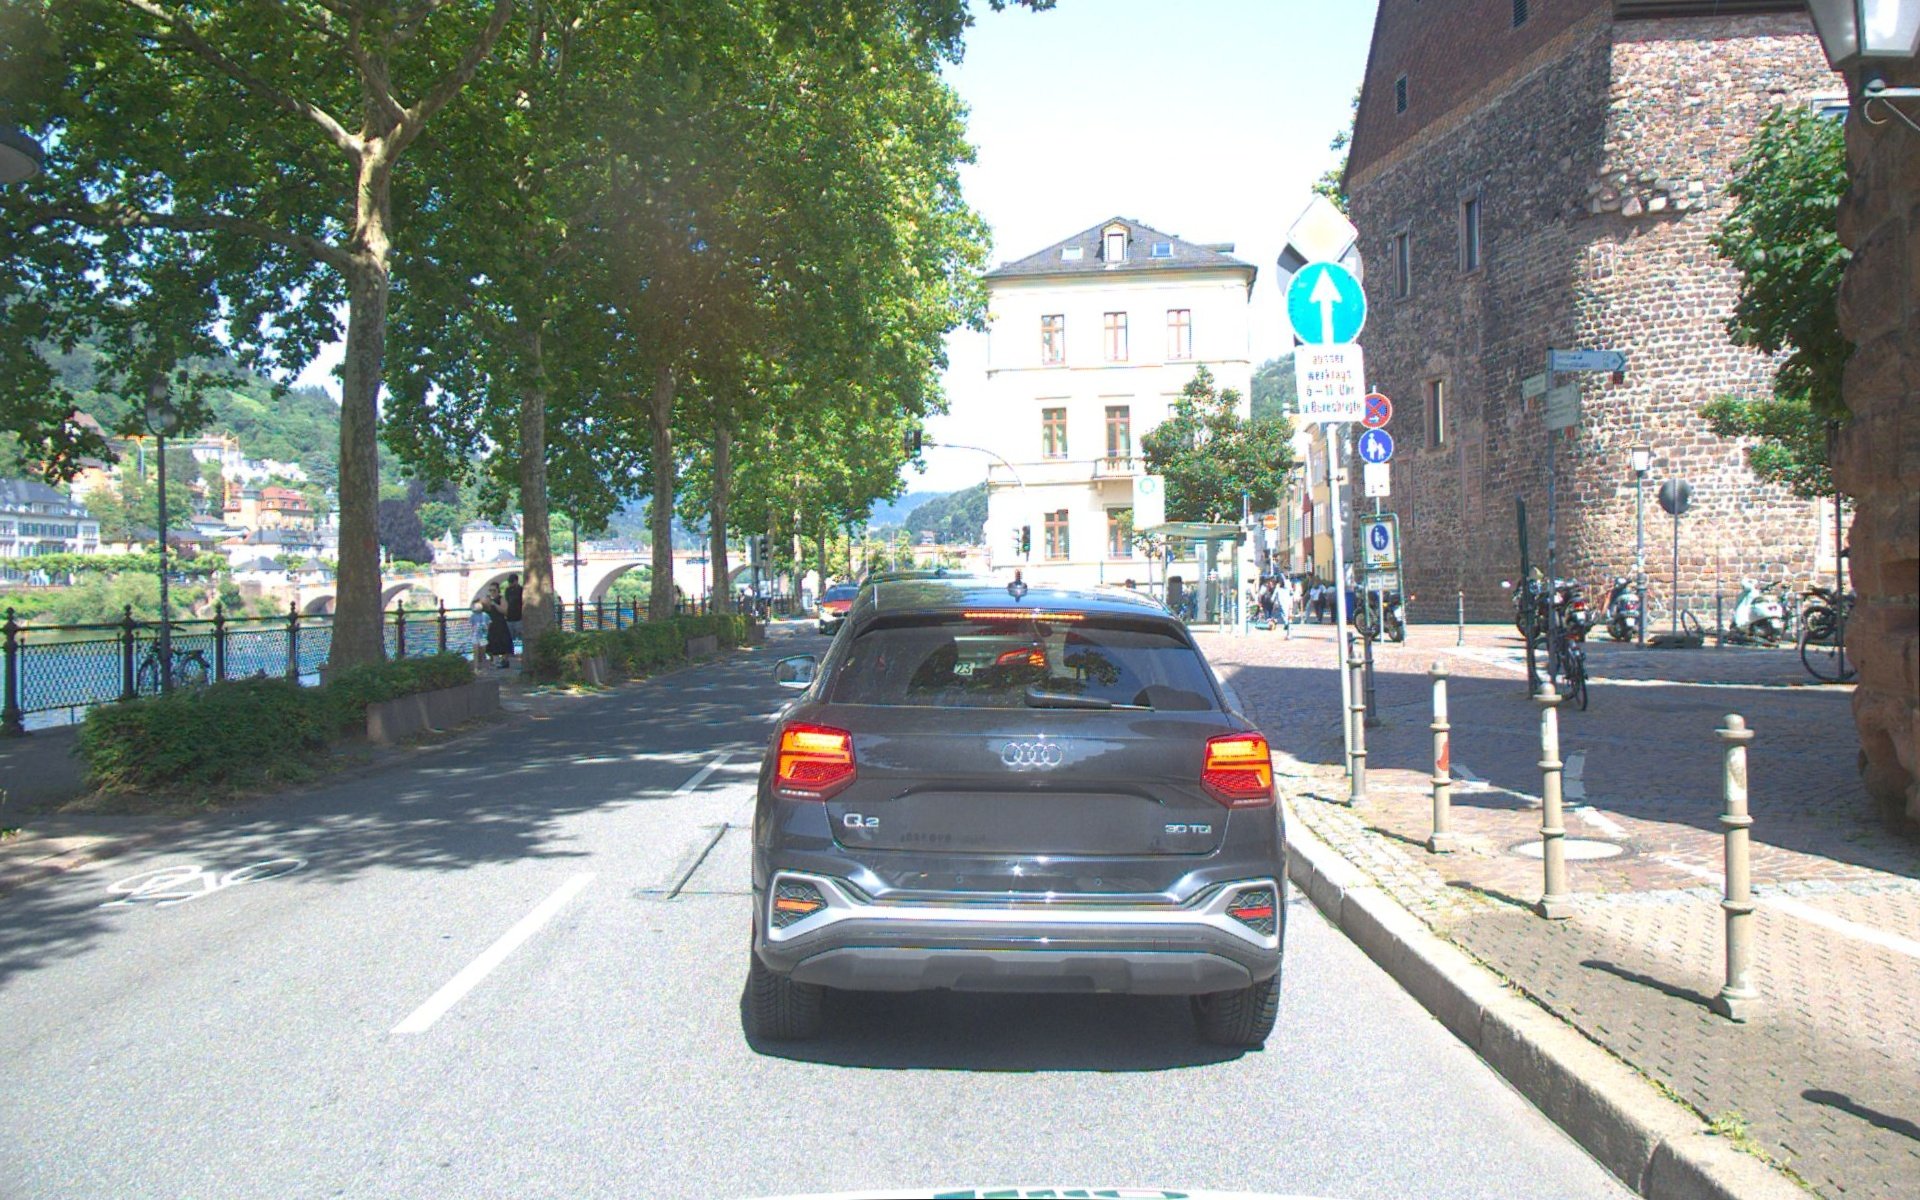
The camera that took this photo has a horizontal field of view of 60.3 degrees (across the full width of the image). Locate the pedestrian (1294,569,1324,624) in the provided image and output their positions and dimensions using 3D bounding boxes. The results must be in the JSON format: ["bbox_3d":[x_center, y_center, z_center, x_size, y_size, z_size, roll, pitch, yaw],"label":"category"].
[{"bbox_3d":[12.605,-0.128,59.741,0.740,1.923,0.744,-2,0,-26],"label":"pedestrian"}]

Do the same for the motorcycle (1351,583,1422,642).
[{"bbox_3d":[7.770,0.213,30.237,0.555,1.030,2.489,-1,1,-2],"label":"motorcycle"}]

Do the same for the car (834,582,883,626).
[{"bbox_3d":[-4.246,0.141,69.659,1.733,1.688,3.999,-4,0,-1],"label":"car"}]

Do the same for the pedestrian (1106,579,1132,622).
[{"bbox_3d":[4.708,0.007,48.959,0.651,1.253,0.640,1,-1,-7],"label":"pedestrian"}]

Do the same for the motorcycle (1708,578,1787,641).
[{"bbox_3d":[14.027,0.170,29.511,0.496,1.092,1.840,1,0,-1],"label":"motorcycle"}]

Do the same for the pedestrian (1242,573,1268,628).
[{"bbox_3d":[7.621,0.013,42.748,0.546,1.409,0.588,1,-1,1],"label":"pedestrian"}]

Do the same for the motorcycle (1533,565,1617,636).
[{"bbox_3d":[11.362,0.014,30.649,0.661,1.257,2.312,1,0,-1],"label":"motorcycle"}]

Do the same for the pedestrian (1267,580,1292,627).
[{"bbox_3d":[14.319,0.157,74.218,0.925,2.049,0.807,1,-1,-1],"label":"pedestrian"}]

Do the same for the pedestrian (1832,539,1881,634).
[{"bbox_3d":[19.539,-0.292,36.073,0.857,2.049,0.732,1,-1,23],"label":"pedestrian"}]

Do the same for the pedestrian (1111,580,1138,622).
[{"bbox_3d":[4.777,0.030,48.180,0.651,1.233,0.640,1,-1,-7],"label":"pedestrian"}]

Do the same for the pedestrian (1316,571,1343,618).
[{"bbox_3d":[13.147,-0.203,58.840,0.677,1.640,0.891,-2,0,-1],"label":"pedestrian"}]

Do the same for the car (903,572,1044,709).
[{"bbox_3d":[0.138,0.468,21.553,1.676,1.637,3.654,0,0,-1],"label":"car"}]

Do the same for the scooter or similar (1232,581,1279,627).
[{"bbox_3d":[7.062,0.103,39.519,1.067,1.084,0.323,1,-1,-3],"label":"scooter or similar"}]

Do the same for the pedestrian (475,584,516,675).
[{"bbox_3d":[-8.901,0.549,31.705,0.589,1.715,0.583,-1,0,-2],"label":"pedestrian"}]

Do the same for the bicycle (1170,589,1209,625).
[{"bbox_3d":[6.819,0.217,49.080,1.184,1.053,0.178,1,-1,-20],"label":"bicycle"}]

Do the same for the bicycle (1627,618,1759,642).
[{"bbox_3d":[12.251,0.502,27.711,1.887,0.388,0.918,0,-1,14],"label":"bicycle"}]

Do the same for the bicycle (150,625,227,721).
[{"bbox_3d":[-9.529,0.883,20.460,0.352,1.110,1.295,2,0,-2],"label":"bicycle"}]

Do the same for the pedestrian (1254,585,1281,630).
[{"bbox_3d":[10.185,0.242,54.787,0.626,1.469,0.797,-2,0,-7],"label":"pedestrian"}]

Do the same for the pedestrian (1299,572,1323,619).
[{"bbox_3d":[12.531,-0.169,59.071,0.595,1.647,0.710,-3,0,-1],"label":"pedestrian"}]

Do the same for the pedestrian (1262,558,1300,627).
[{"bbox_3d":[8.006,-0.186,41.206,0.790,1.691,0.656,-1,0,21],"label":"pedestrian"}]

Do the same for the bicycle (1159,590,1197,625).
[{"bbox_3d":[6.564,0.216,49.703,1.166,1.033,0.178,1,-1,-20],"label":"bicycle"}]

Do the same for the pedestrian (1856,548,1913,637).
[{"bbox_3d":[19.222,-0.157,34.382,0.645,1.834,0.838,0,0,-30],"label":"pedestrian"}]

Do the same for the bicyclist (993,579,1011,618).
[{"bbox_3d":[1.586,-0.049,62.509,0.593,1.475,0.590,1,-1,-6],"label":"bicyclist"}]

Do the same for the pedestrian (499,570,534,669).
[{"bbox_3d":[-8.647,0.376,32.264,0.523,1.920,0.436,1,0,-1],"label":"pedestrian"}]

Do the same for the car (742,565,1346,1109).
[{"bbox_3d":[0.218,0.661,6.568,1.707,1.535,3.646,1,1,-1],"label":"car"}]

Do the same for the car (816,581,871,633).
[{"bbox_3d":[-4.109,0.209,58.945,1.639,1.689,4.222,-3,0,-1],"label":"car"}]

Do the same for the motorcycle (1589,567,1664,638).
[{"bbox_3d":[12.362,0.052,30.742,0.535,1.257,2.030,1,0,-1],"label":"motorcycle"}]

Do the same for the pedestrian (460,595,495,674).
[{"bbox_3d":[-8.550,0.613,29.308,0.469,1.386,0.417,-1,0,3],"label":"pedestrian"}]

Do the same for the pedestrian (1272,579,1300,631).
[{"bbox_3d":[12.946,0.186,65.679,0.921,2.049,0.807,1,-1,-3],"label":"pedestrian"}]

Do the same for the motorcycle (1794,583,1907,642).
[{"bbox_3d":[16.833,0.230,31.290,1.826,1.072,0.480,1,-1,7],"label":"motorcycle"}]

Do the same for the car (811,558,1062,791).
[{"bbox_3d":[-0.189,0.519,13.441,1.756,1.623,3.398,1,0,-1],"label":"car"}]

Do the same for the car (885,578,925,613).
[{"bbox_3d":[-2.981,-0.210,90.442,1.952,1.838,4.000,1,0,1],"label":"car"}]

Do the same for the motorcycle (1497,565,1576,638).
[{"bbox_3d":[10.502,0.032,30.209,0.642,1.288,2.199,0,0,-1],"label":"motorcycle"}]

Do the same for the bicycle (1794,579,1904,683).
[{"bbox_3d":[10.606,0.342,19.783,0.437,1.182,1.731,-1,1,3],"label":"bicycle"}]

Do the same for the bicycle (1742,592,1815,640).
[{"bbox_3d":[15.132,0.290,30.618,0.346,0.835,1.926,1,1,-2],"label":"bicycle"}]

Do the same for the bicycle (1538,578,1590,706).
[{"bbox_3d":[6.139,0.397,16.845,0.189,1.225,1.771,0,1,10],"label":"bicycle"}]

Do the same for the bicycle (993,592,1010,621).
[{"bbox_3d":[1.567,0.246,62.451,0.428,1.105,1.675,1,0,-5],"label":"bicycle"}]

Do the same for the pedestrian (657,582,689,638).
[{"bbox_3d":[-9.549,0.334,55.114,0.891,1.843,0.586,1,-2,3],"label":"pedestrian"}]

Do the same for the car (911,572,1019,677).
[{"bbox_3d":[0.055,0.386,29.084,1.758,1.711,3.999,1,0,-1],"label":"car"}]
